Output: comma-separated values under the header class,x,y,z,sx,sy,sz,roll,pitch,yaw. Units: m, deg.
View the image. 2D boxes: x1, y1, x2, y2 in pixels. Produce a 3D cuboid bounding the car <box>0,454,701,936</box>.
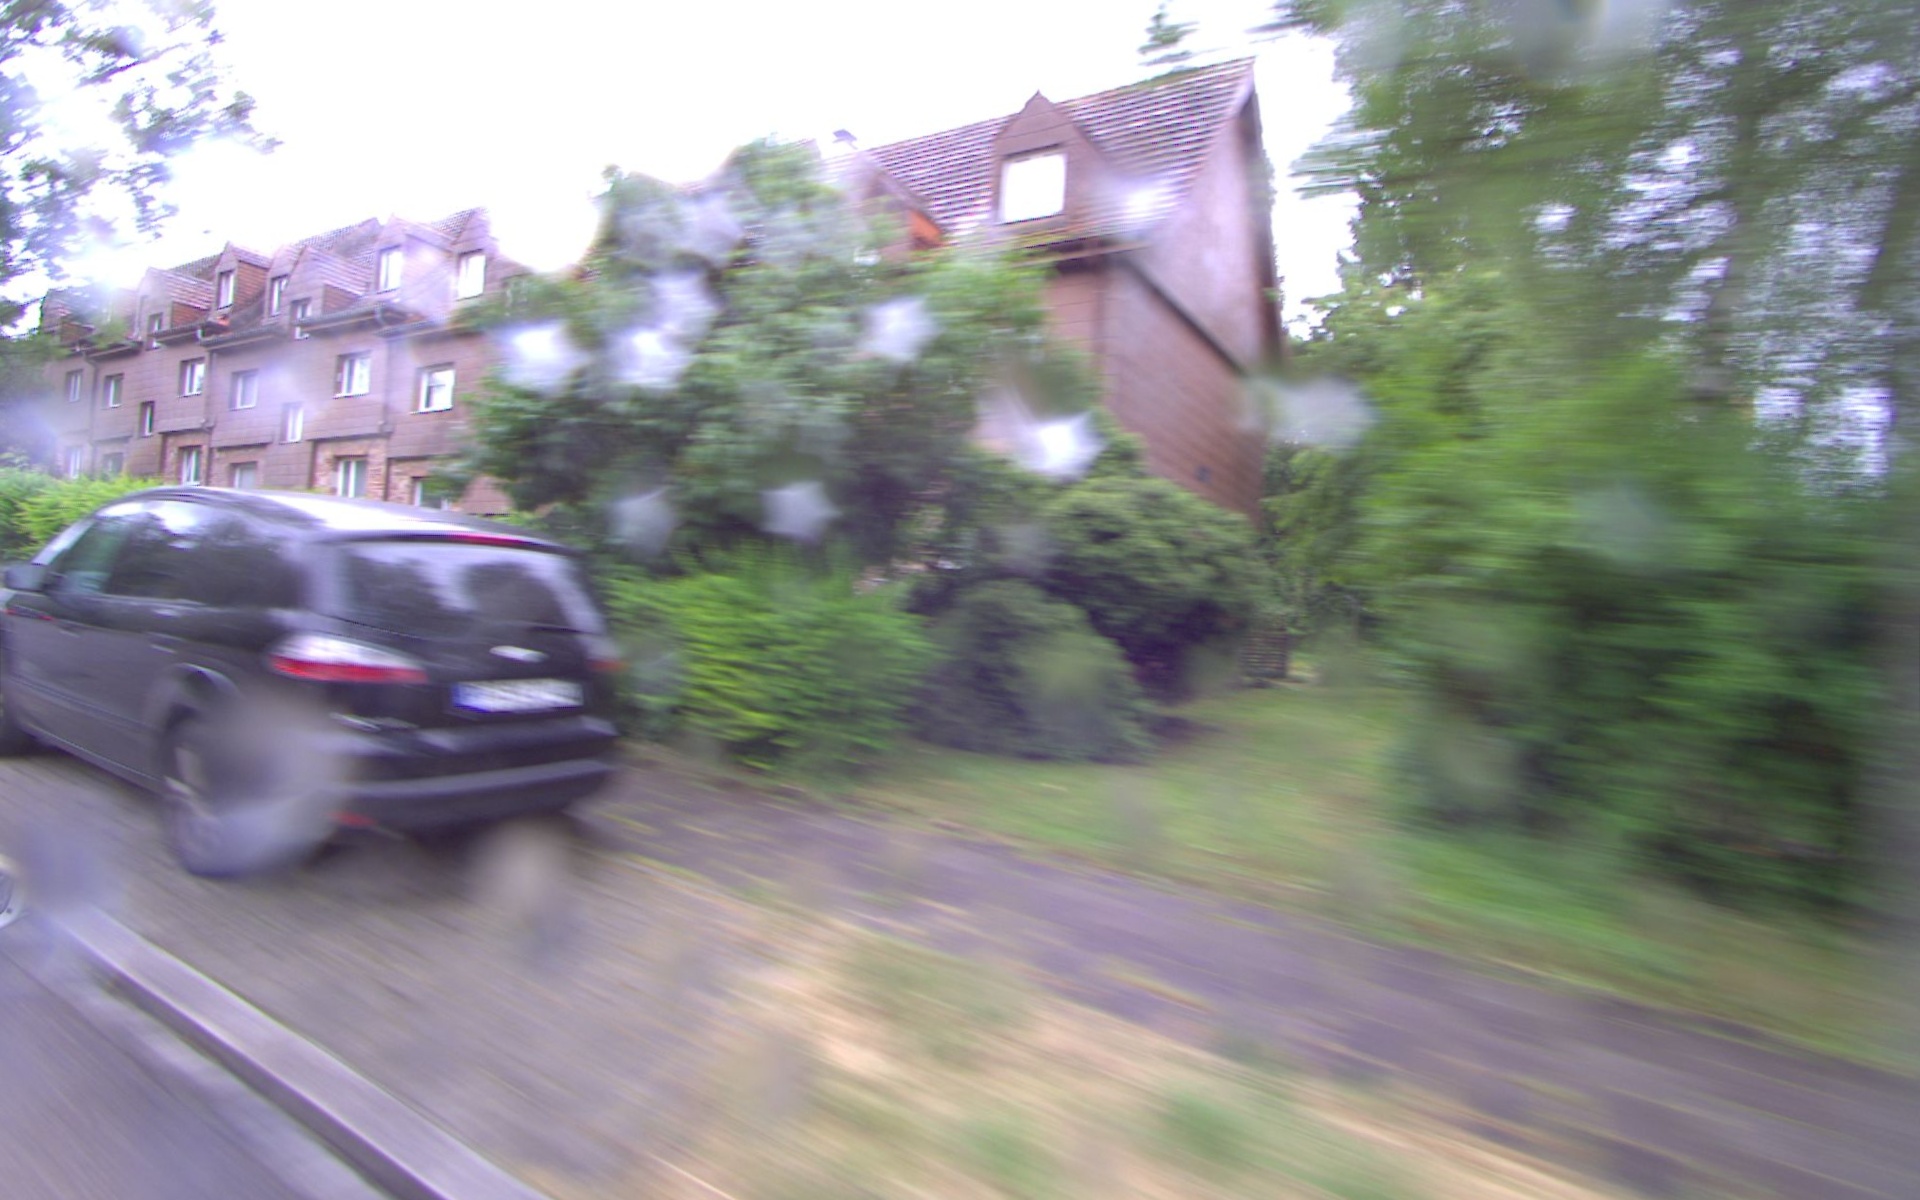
class,x,y,z,sx,sy,sz,roll,pitch,yaw
car,-3.780,0.208,5.610,4.509,1.699,1.825,6,1,32
